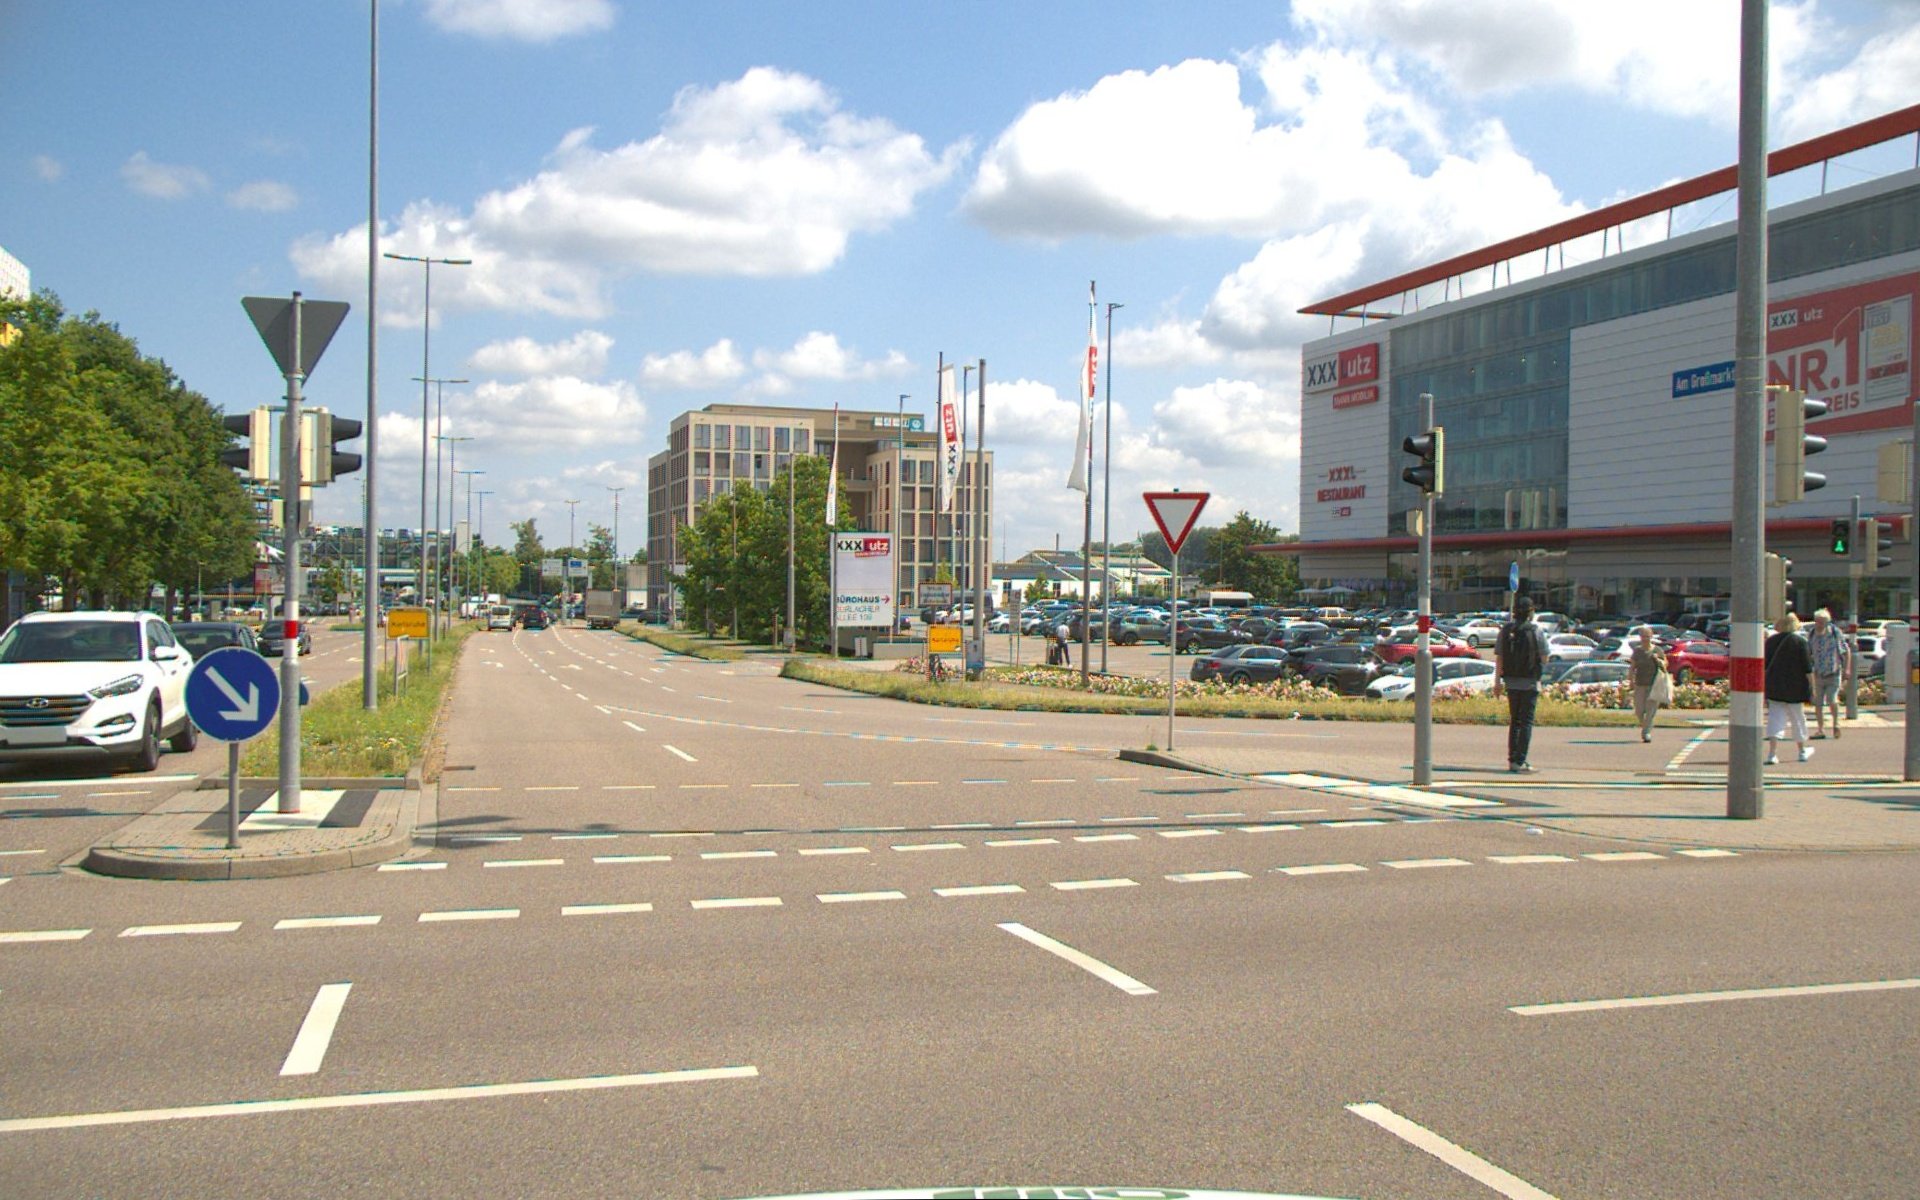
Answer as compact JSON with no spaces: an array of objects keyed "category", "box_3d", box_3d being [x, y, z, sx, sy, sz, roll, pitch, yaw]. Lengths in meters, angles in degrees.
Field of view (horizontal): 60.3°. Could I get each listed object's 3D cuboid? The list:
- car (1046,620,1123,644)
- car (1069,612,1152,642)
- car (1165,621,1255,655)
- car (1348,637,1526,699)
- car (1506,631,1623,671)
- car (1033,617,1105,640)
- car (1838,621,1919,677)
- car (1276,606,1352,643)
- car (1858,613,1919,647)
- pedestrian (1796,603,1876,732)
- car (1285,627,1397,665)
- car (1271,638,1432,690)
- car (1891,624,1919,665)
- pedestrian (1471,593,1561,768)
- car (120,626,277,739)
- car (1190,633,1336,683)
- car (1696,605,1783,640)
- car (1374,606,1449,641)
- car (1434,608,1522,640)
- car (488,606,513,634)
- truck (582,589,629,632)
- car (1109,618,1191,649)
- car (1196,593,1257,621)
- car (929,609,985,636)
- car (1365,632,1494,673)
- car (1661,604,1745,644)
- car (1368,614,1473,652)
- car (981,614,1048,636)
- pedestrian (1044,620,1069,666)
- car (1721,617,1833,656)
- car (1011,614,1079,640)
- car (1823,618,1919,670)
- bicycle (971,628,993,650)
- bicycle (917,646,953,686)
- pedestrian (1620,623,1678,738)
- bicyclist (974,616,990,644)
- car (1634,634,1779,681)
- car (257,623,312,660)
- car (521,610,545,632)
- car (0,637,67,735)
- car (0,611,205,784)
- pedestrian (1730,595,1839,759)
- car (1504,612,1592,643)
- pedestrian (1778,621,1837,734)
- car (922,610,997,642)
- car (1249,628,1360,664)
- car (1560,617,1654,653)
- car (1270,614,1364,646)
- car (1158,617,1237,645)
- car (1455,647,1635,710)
[{"category":"car","box_3d":[7.451,1.905,98.782,4.291,1.348,1.755,0,0,-18]},{"category":"car","box_3d":[8.532,1.506,93.928,4.291,1.601,2.020,0,0,-18]},{"category":"car","box_3d":[12.036,1.809,79.628,3.994,1.558,1.732,0,0,-21]},{"category":"car","box_3d":[12.679,1.780,43.967,4.288,1.465,1.788,0,0,-17]},{"category":"car","box_3d":[22.762,1.915,62.312,3.958,1.386,1.596,0,1,-15]},{"category":"car","box_3d":[6.682,1.760,101.774,4.117,1.348,1.680,0,0,-17]},{"category":"car","box_3d":[27.032,1.334,46.143,4.286,1.433,2.041,0,0,-15]},{"category":"car","box_3d":[20.785,1.458,97.189,3.923,2.049,1.991,2,0,-17]},{"category":"car","box_3d":[45.005,1.430,79.018,3.582,1.549,1.673,2,0,-17]},{"category":"pedestrian","box_3d":[12.127,0.931,22.912,0.673,1.758,0.700,0,-2,-6]},{"category":"car","box_3d":[15.772,1.894,68.517,4.286,1.467,1.620,0,1,-15]},{"category":"car","box_3d":[11.520,1.880,48.751,4.288,1.441,1.848,1,-1,-17]},{"category":"car","box_3d":[39.084,1.733,65.343,3.927,1.557,1.909,0,0,-19]},{"category":"pedestrian","box_3d":[5.981,0.847,17.826,0.802,1.834,0.760,0,-1,10]},{"category":"car","box_3d":[-11.374,1.180,24.933,1.578,1.519,4.112,-1,-1,-17]},{"category":"car","box_3d":[9.787,1.849,53.464,4.286,1.502,1.849,0,0,-15]},{"category":"car","box_3d":[41.826,1.209,88.795,3.925,1.754,1.990,2,0,-18]},{"category":"car","box_3d":[27.583,1.437,101.111,3.923,2.049,1.991,2,0,-17]},{"category":"car","box_3d":[26.430,1.241,84.356,4.092,1.537,1.696,1,0,-21]},{"category":"car","box_3d":[-36.276,1.584,130.445,1.826,2.053,3.982,2,0,-16]},{"category":"truck","box_3d":[-34.381,0.997,160.842,3.067,4.009,8.852,2,0,-3]},{"category":"car","box_3d":[10.263,1.801,89.400,4.118,1.579,1.756,0,0,-18]},{"category":"car","box_3d":[19.773,0.495,122.721,3.923,1.985,1.991,2,0,-17]},{"category":"car","box_3d":[-0.246,1.701,126.007,3.923,2.049,1.991,0,0,-16]},{"category":"car","box_3d":[17.377,1.935,61.283,4.286,1.386,1.839,0,0,-15]},{"category":"car","box_3d":[41.009,1.316,91.353,3.925,2.049,1.990,2,0,-18]},{"category":"car","box_3d":[20.191,1.443,72.555,4.082,1.534,1.818,2,0,-17]},{"category":"car","box_3d":[3.656,1.692,111.439,4.121,1.413,1.882,0,0,-20]},{"category":"pedestrian","box_3d":[3.935,1.753,67.522,0.850,1.813,0.785,1,0,14]},{"category":"car","box_3d":[32.552,1.433,65.927,3.922,1.477,1.661,0,0,-16]},{"category":"car","box_3d":[5.508,1.742,106.951,3.926,1.598,1.989,2,-1,-19]},{"category":"car","box_3d":[30.209,1.407,53.434,4.162,1.615,1.842,1,0,-20]},{"category":"bicycle","box_3d":[1.118,2.004,85.472,0.613,1.086,1.959,0,0,-16]},{"category":"bicycle","box_3d":[-0.639,1.664,41.951,0.509,0.969,1.536,2,-2,-17]},{"category":"pedestrian","box_3d":[9.461,1.098,22.726,0.544,1.550,0.468,2,0,-8]},{"category":"bicyclist","box_3d":[1.140,1.532,85.450,0.605,1.437,0.712,1,0,-16]},{"category":"car","box_3d":[25.139,1.916,55.717,4.286,1.452,1.839,0,1,-15]},{"category":"car","box_3d":[-27.690,1.684,67.881,1.637,1.446,4.497,-1,-1,-17]},{"category":"car","box_3d":[-37.455,1.864,145.070,1.787,1.840,3.988,2,-1,-11]},{"category":"car","box_3d":[-15.228,1.307,25.834,1.389,1.416,4.077,-1,-1,-16]},{"category":"car","box_3d":[-9.543,1.001,18.128,1.681,1.648,4.357,-1,-1,-16]},{"category":"pedestrian","box_3d":[9.312,0.854,18.704,0.841,1.796,0.866,-2,-1,10]},{"category":"car","box_3d":[31.371,1.457,88.251,4.271,1.537,1.698,2,0,-18]},{"category":"pedestrian","box_3d":[11.912,1.084,23.260,0.572,1.550,0.468,0,0,-8]},{"category":"car","box_3d":[-0.056,2.066,130.309,5.571,2.408,2.051,2,-1,-19]},{"category":"car","box_3d":[14.705,1.938,70.642,4.286,1.386,1.839,0,1,-15]},{"category":"car","box_3d":[30.291,1.646,77.458,3.953,1.615,1.687,1,0,-18]},{"category":"car","box_3d":[17.675,1.481,81.942,4.221,1.452,1.751,1,1,-17]},{"category":"car","box_3d":[13.754,1.819,95.779,4.174,1.489,1.751,2,0,-18]},{"category":"car","box_3d":[14.122,1.887,39.940,3.926,1.443,1.706,1,-1,-19]}]
